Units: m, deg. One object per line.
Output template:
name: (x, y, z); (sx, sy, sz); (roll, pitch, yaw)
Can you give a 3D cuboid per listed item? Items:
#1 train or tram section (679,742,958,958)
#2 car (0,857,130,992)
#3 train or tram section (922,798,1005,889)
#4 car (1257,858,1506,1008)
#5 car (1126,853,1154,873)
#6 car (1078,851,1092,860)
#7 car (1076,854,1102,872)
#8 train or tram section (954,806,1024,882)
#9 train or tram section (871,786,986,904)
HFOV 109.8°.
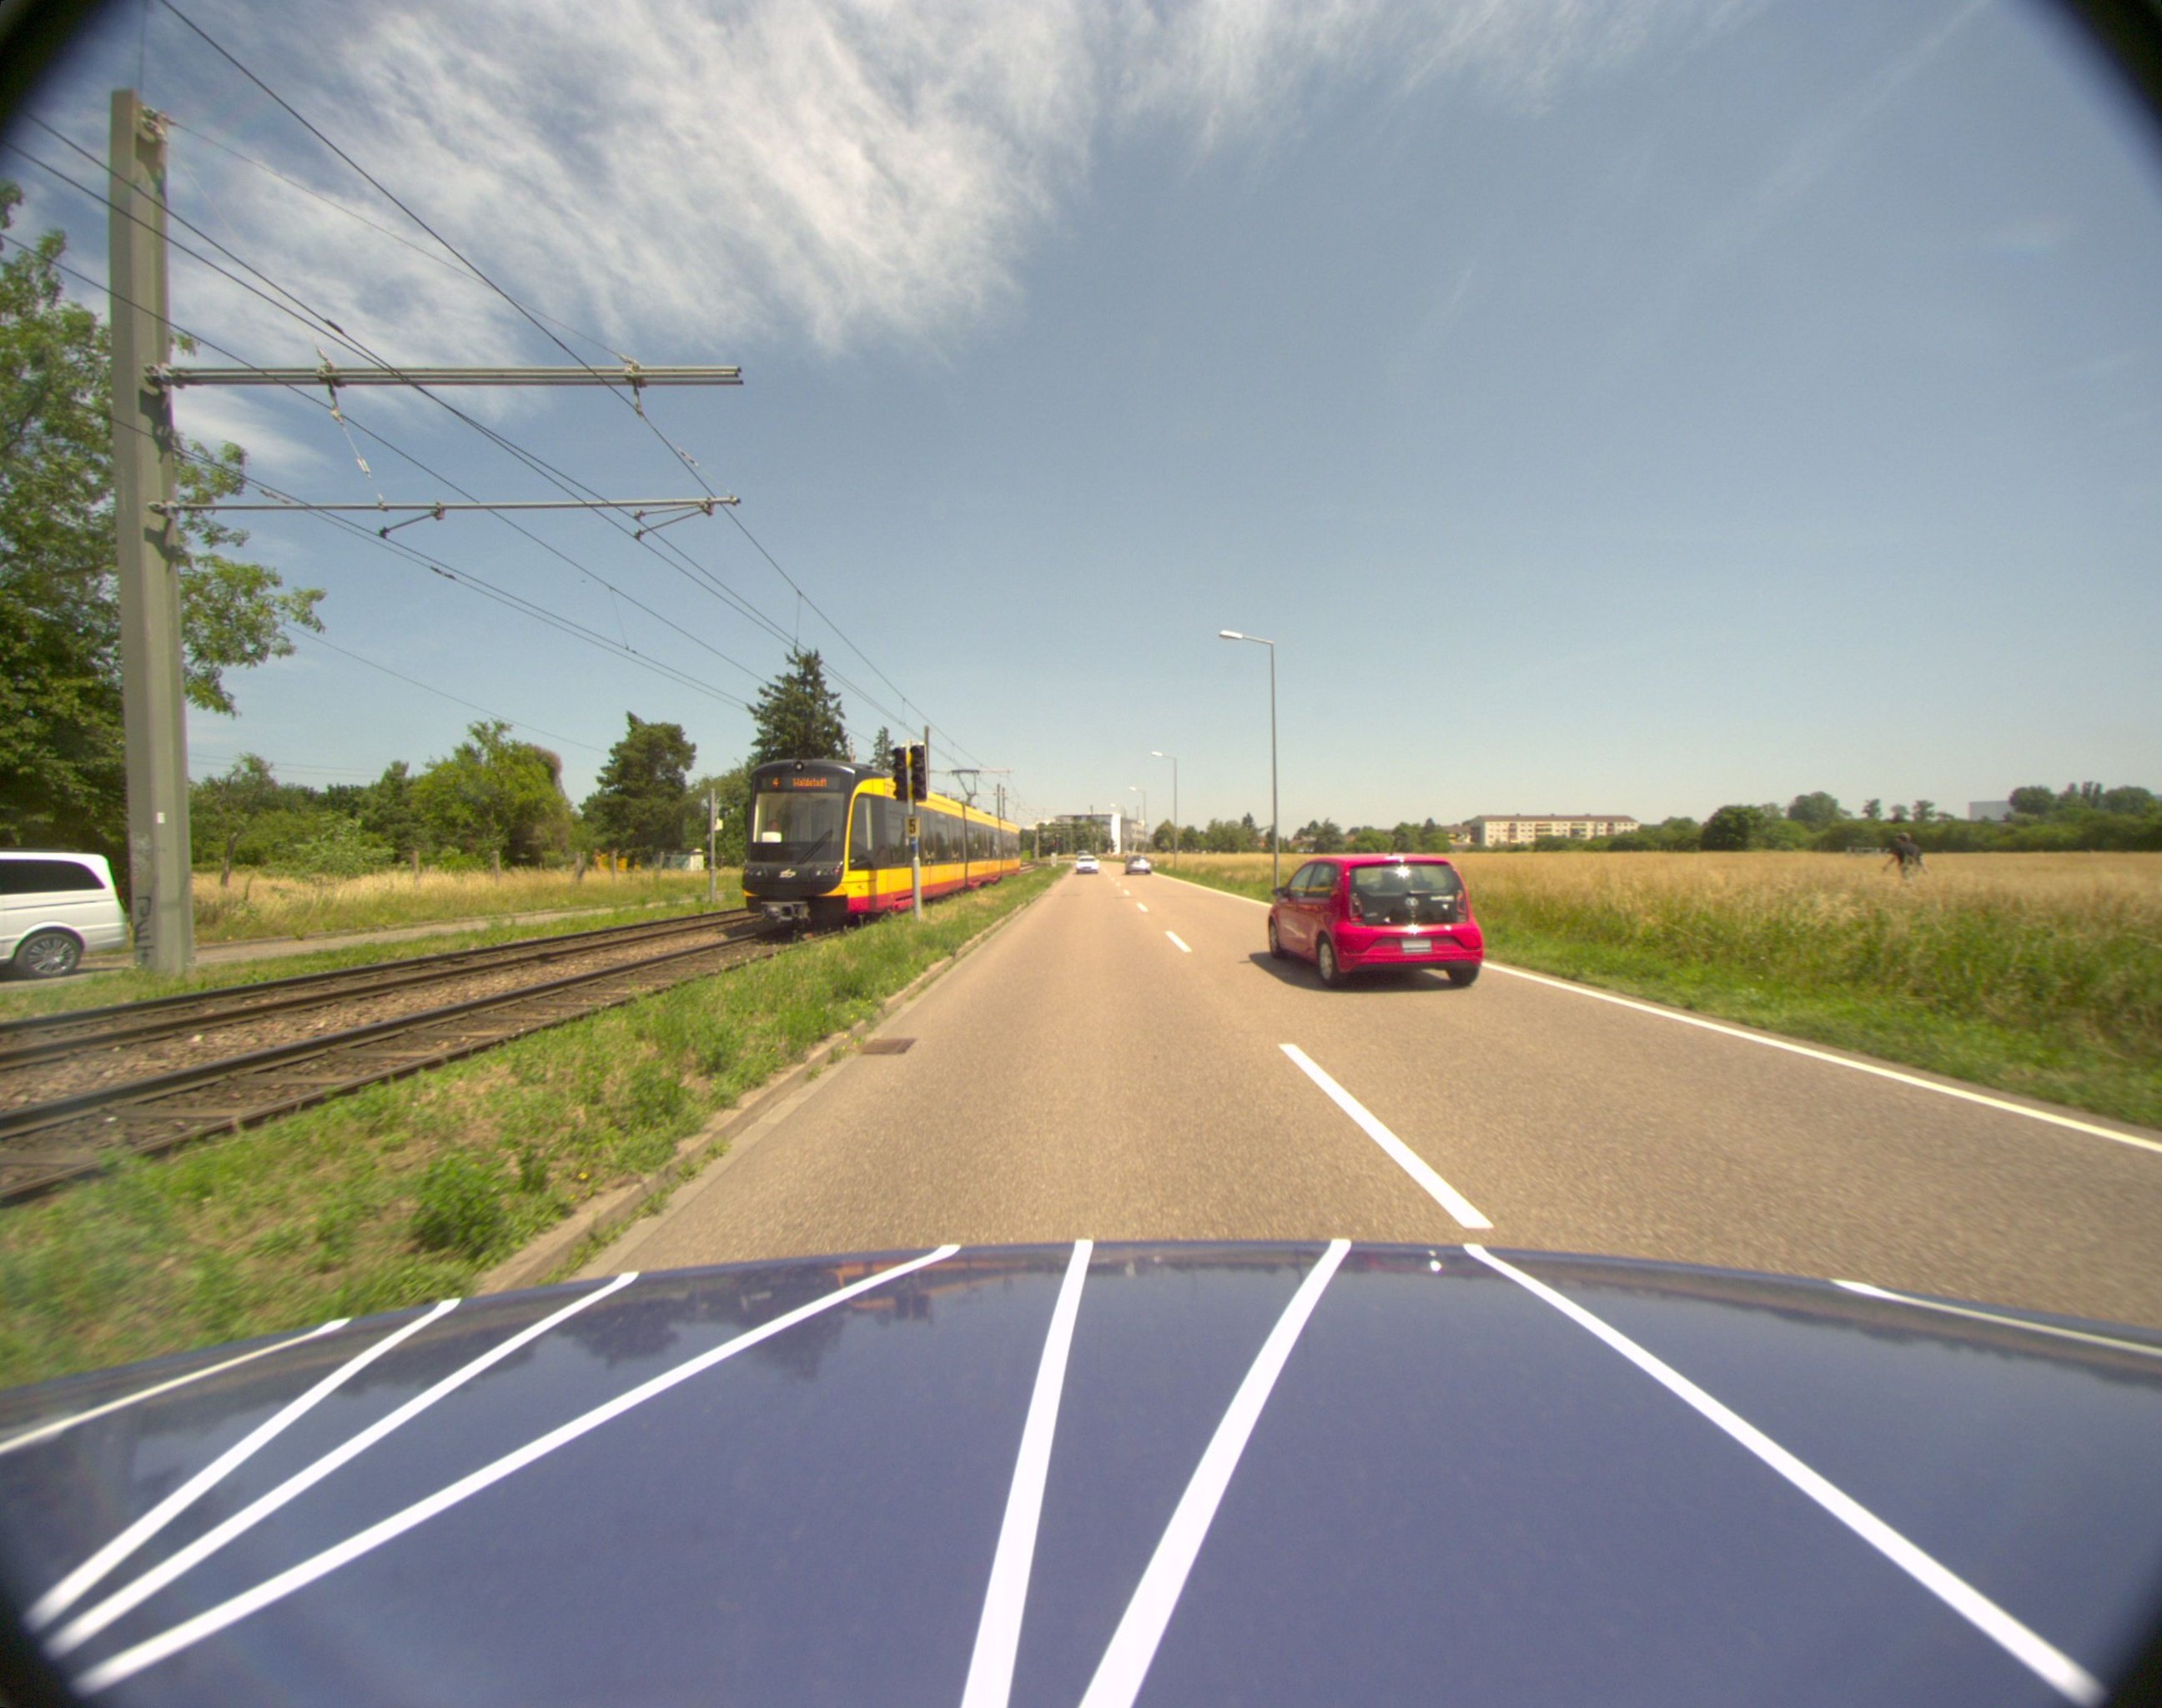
train or tram section: (-5.374, -0.178, 18.544); (2.772, 3.668, 11.184); (0, 1, 1)
car: (-16.247, 1.038, 9.627); (1.998, 1.865, 5.013); (0, 1, 1)
train or tram section: (-5.123, -0.490, 34.259); (2.567, 3.692, 6.728); (0, 1, 1)
car: (3.448, 0.806, 9.530); (1.649, 1.392, 3.844); (0, 1, 1)
car: (4.457, 0.642, 58.224); (1.839, 1.458, 4.678); (-1, 0, 1)
car: (0.543, 0.216, 106.271); (1.633, 1.242, 3.160); (-1, 1, -8)
car: (0.702, 0.730, 63.595); (1.771, 1.434, 4.130); (0, 1, 5)
train or tram section: (-4.986, -0.607, 43.395); (2.435, 3.745, 11.557); (0, 1, 1)
train or tram section: (-5.262, -0.362, 27.534); (2.708, 3.745, 6.728); (0, 1, 1)
